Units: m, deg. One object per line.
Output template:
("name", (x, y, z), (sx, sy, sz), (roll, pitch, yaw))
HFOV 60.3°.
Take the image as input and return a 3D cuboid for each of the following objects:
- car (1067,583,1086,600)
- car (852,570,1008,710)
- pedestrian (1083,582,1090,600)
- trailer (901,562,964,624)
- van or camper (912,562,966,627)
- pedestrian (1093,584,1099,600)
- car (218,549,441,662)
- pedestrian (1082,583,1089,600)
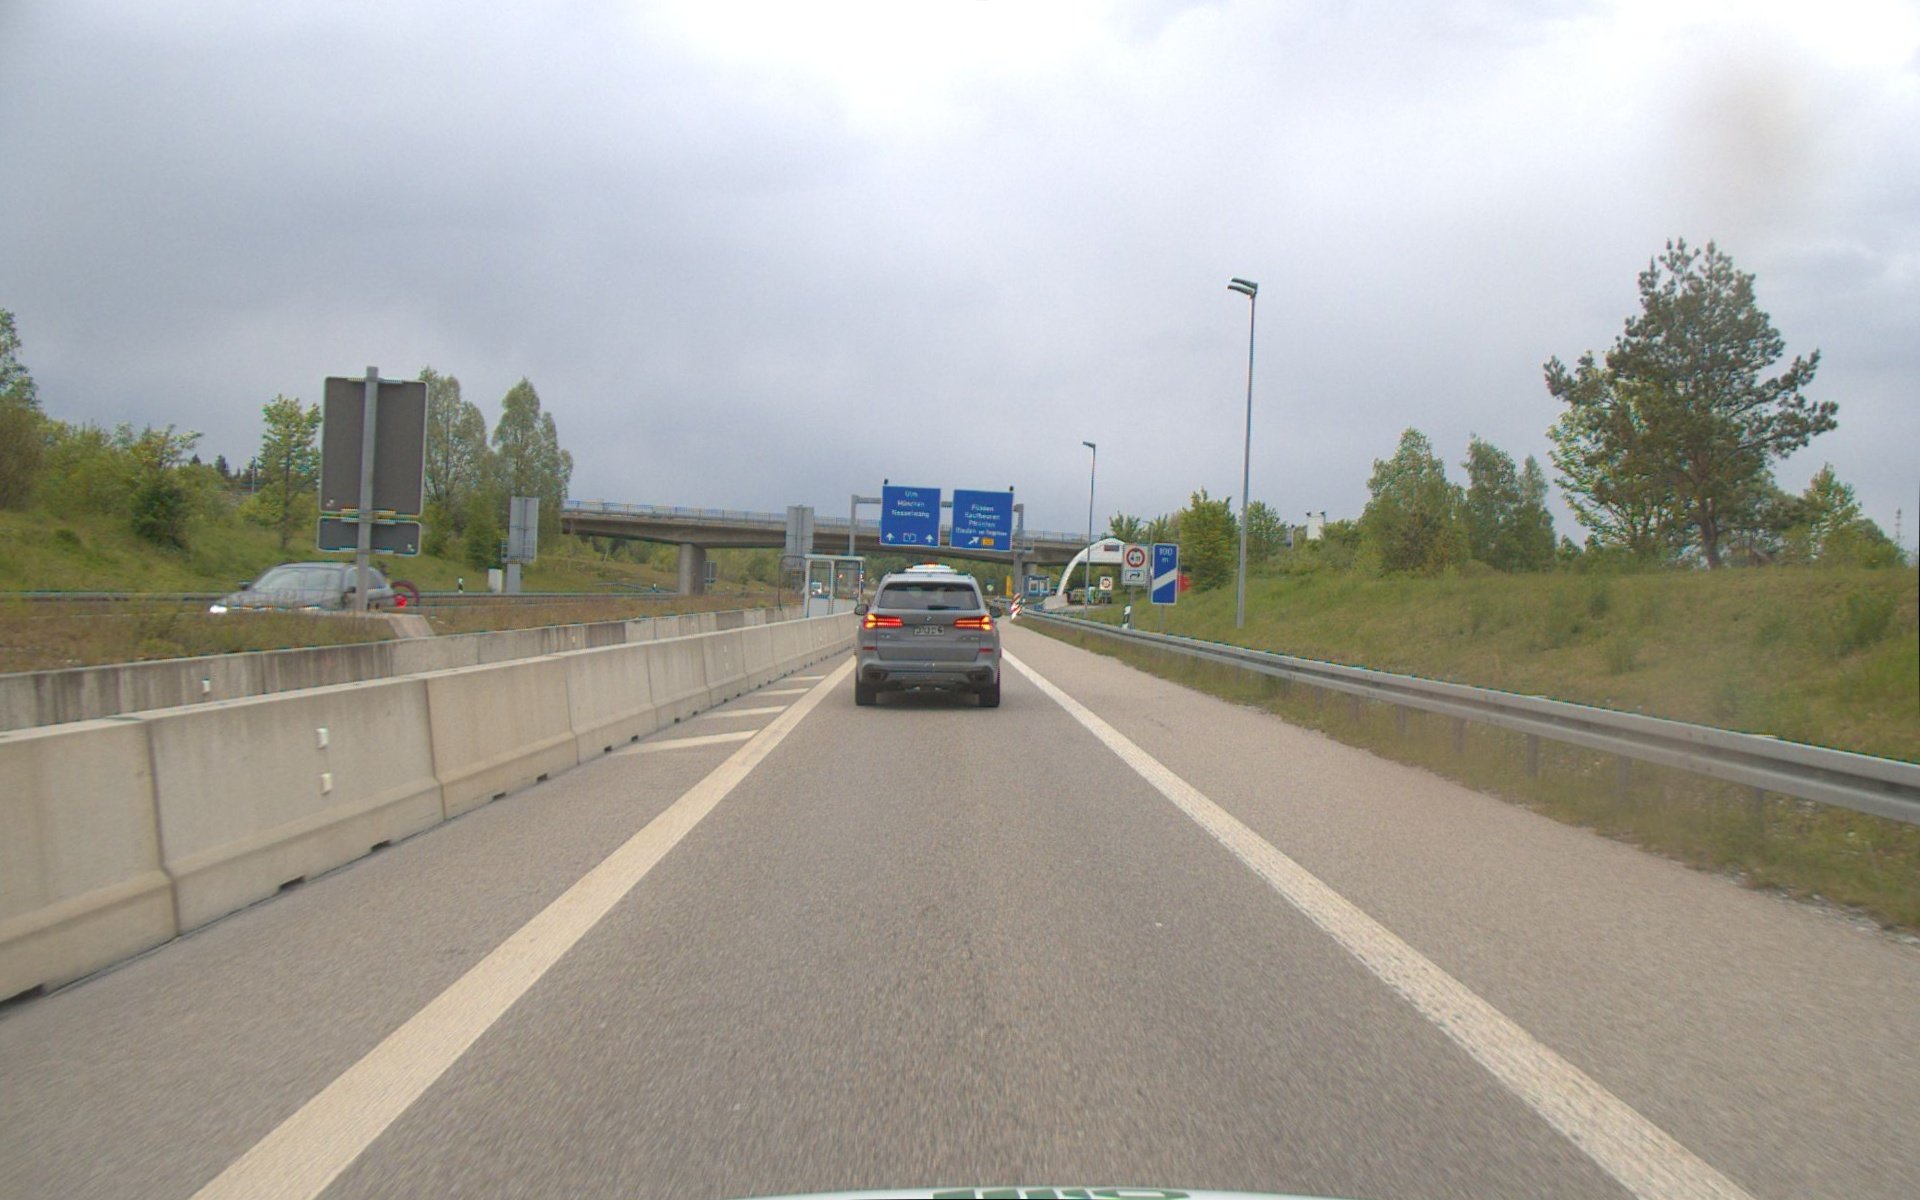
("car", (12.621, -0.912, 179.186), (1.952, 1.803, 3.767), (0, 0, 3))
("car", (-0.410, 0.506, 23.106), (1.953, 1.749, 3.999), (1, 0, -1))
("pedestrian", (13.983, -0.970, 182.511), (0.705, 1.979, 0.690), (0, 0, 3))
("trailer", (-1.094, -0.268, 69.609), (2.231, 2.473, 6.819), (1, 0, 3))
("van or camper", (-0.910, -0.230, 75.944), (2.112, 2.812, 5.873), (1, 0, 3))
("pedestrian", (15.020, -0.875, 182.462), (0.634, 1.806, 0.606), (0, 0, 1))
("car", (-11.046, 0.077, 29.486), (1.840, 1.767, 5.750), (2, 0, -1))
("pedestrian", (13.801, -0.908, 181.414), (0.705, 1.806, 0.690), (0, 0, 3))
